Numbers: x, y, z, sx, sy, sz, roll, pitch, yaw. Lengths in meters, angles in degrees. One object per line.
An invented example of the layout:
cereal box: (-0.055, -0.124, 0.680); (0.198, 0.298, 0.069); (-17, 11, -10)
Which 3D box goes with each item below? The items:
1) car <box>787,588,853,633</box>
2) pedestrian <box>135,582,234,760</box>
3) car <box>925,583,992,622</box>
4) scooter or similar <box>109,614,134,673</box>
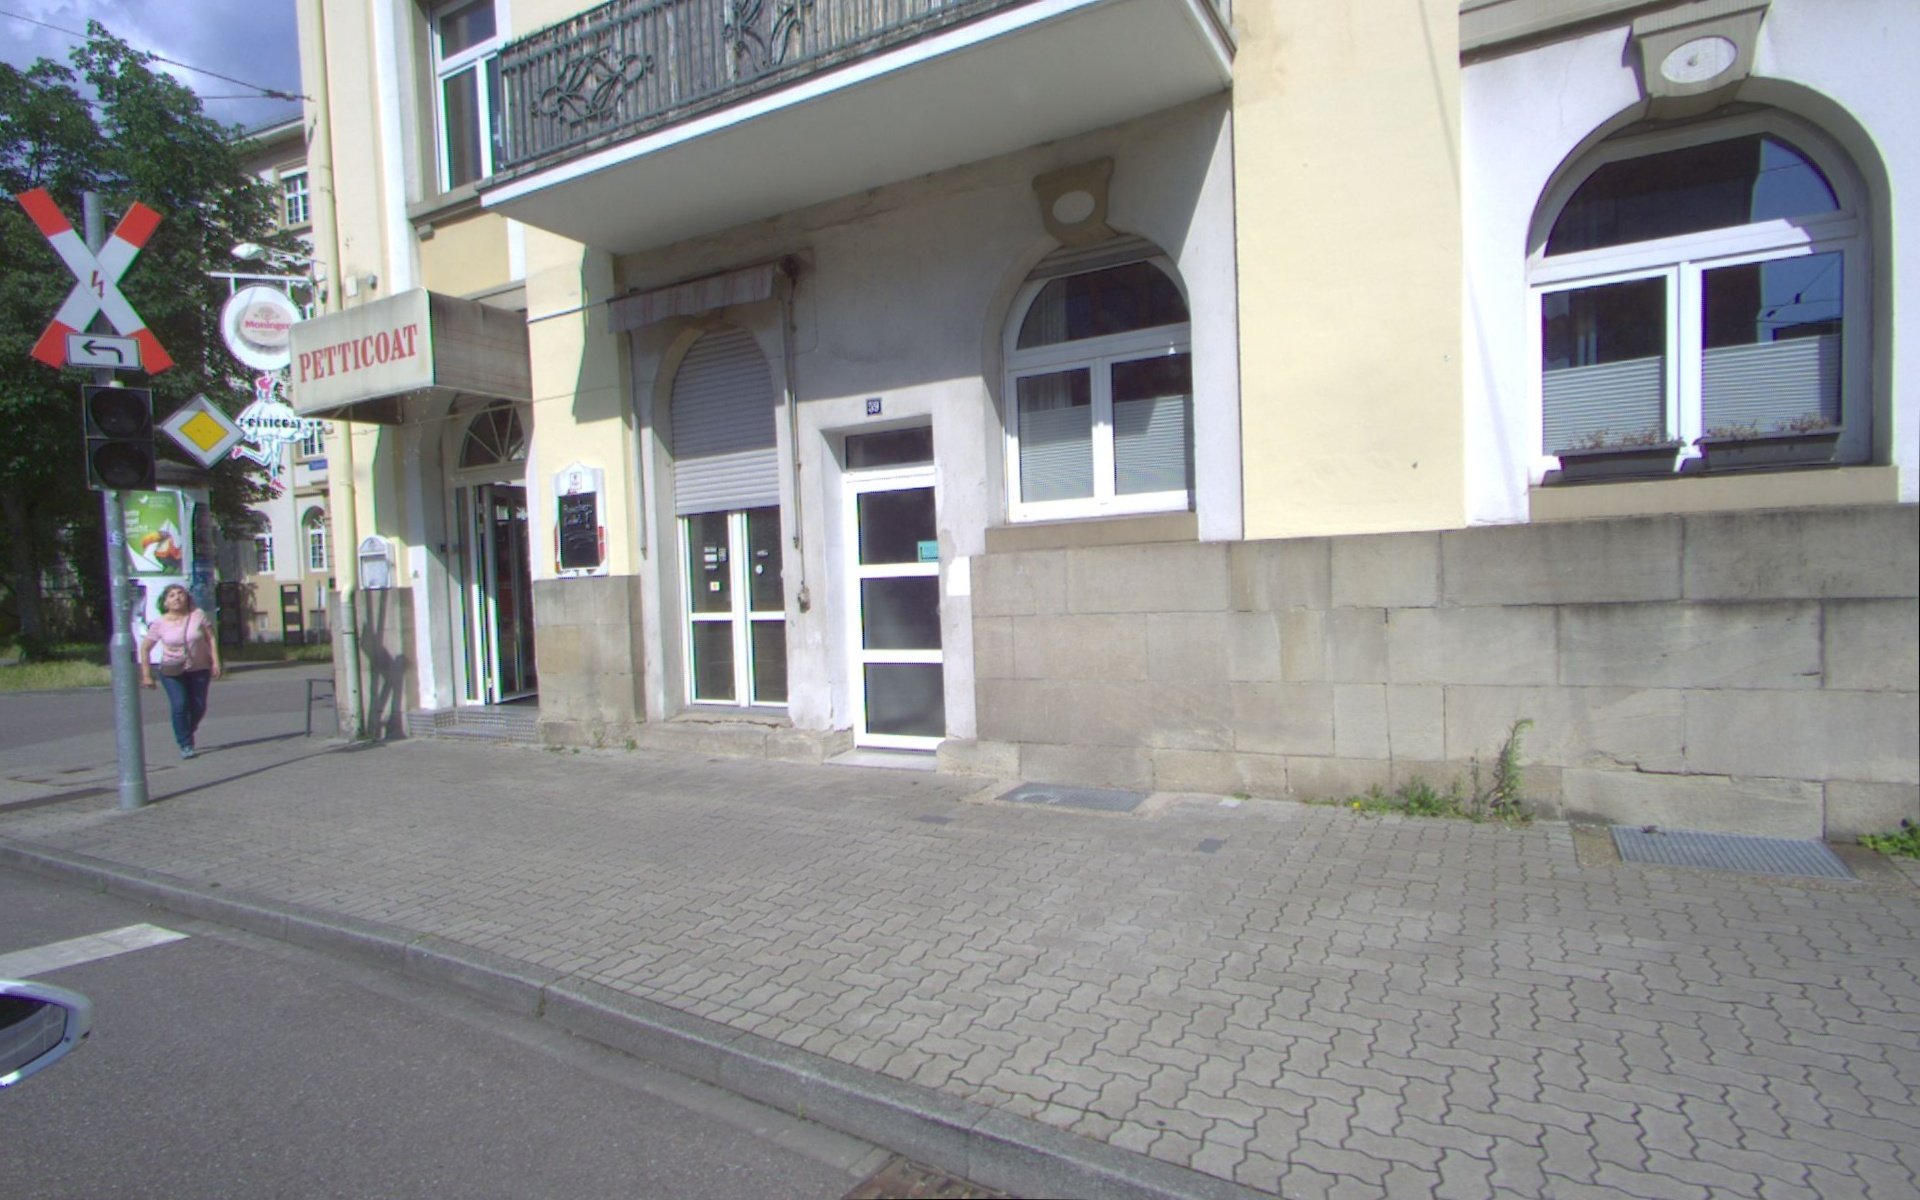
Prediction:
car: (-5.007, 0.339, 35.570); (1.363, 1.476, 3.253); (-3, 1, -25)
pedestrian: (-7.741, 0.674, 10.018); (0.666, 1.671, 0.757); (-4, 3, -38)
car: (-0.102, 0.095, 41.550); (1.568, 1.476, 3.254); (-3, 2, -25)
scooter or similar: (-17.882, 0.908, 21.346); (0.303, 1.205, 1.151); (-4, 2, -43)
